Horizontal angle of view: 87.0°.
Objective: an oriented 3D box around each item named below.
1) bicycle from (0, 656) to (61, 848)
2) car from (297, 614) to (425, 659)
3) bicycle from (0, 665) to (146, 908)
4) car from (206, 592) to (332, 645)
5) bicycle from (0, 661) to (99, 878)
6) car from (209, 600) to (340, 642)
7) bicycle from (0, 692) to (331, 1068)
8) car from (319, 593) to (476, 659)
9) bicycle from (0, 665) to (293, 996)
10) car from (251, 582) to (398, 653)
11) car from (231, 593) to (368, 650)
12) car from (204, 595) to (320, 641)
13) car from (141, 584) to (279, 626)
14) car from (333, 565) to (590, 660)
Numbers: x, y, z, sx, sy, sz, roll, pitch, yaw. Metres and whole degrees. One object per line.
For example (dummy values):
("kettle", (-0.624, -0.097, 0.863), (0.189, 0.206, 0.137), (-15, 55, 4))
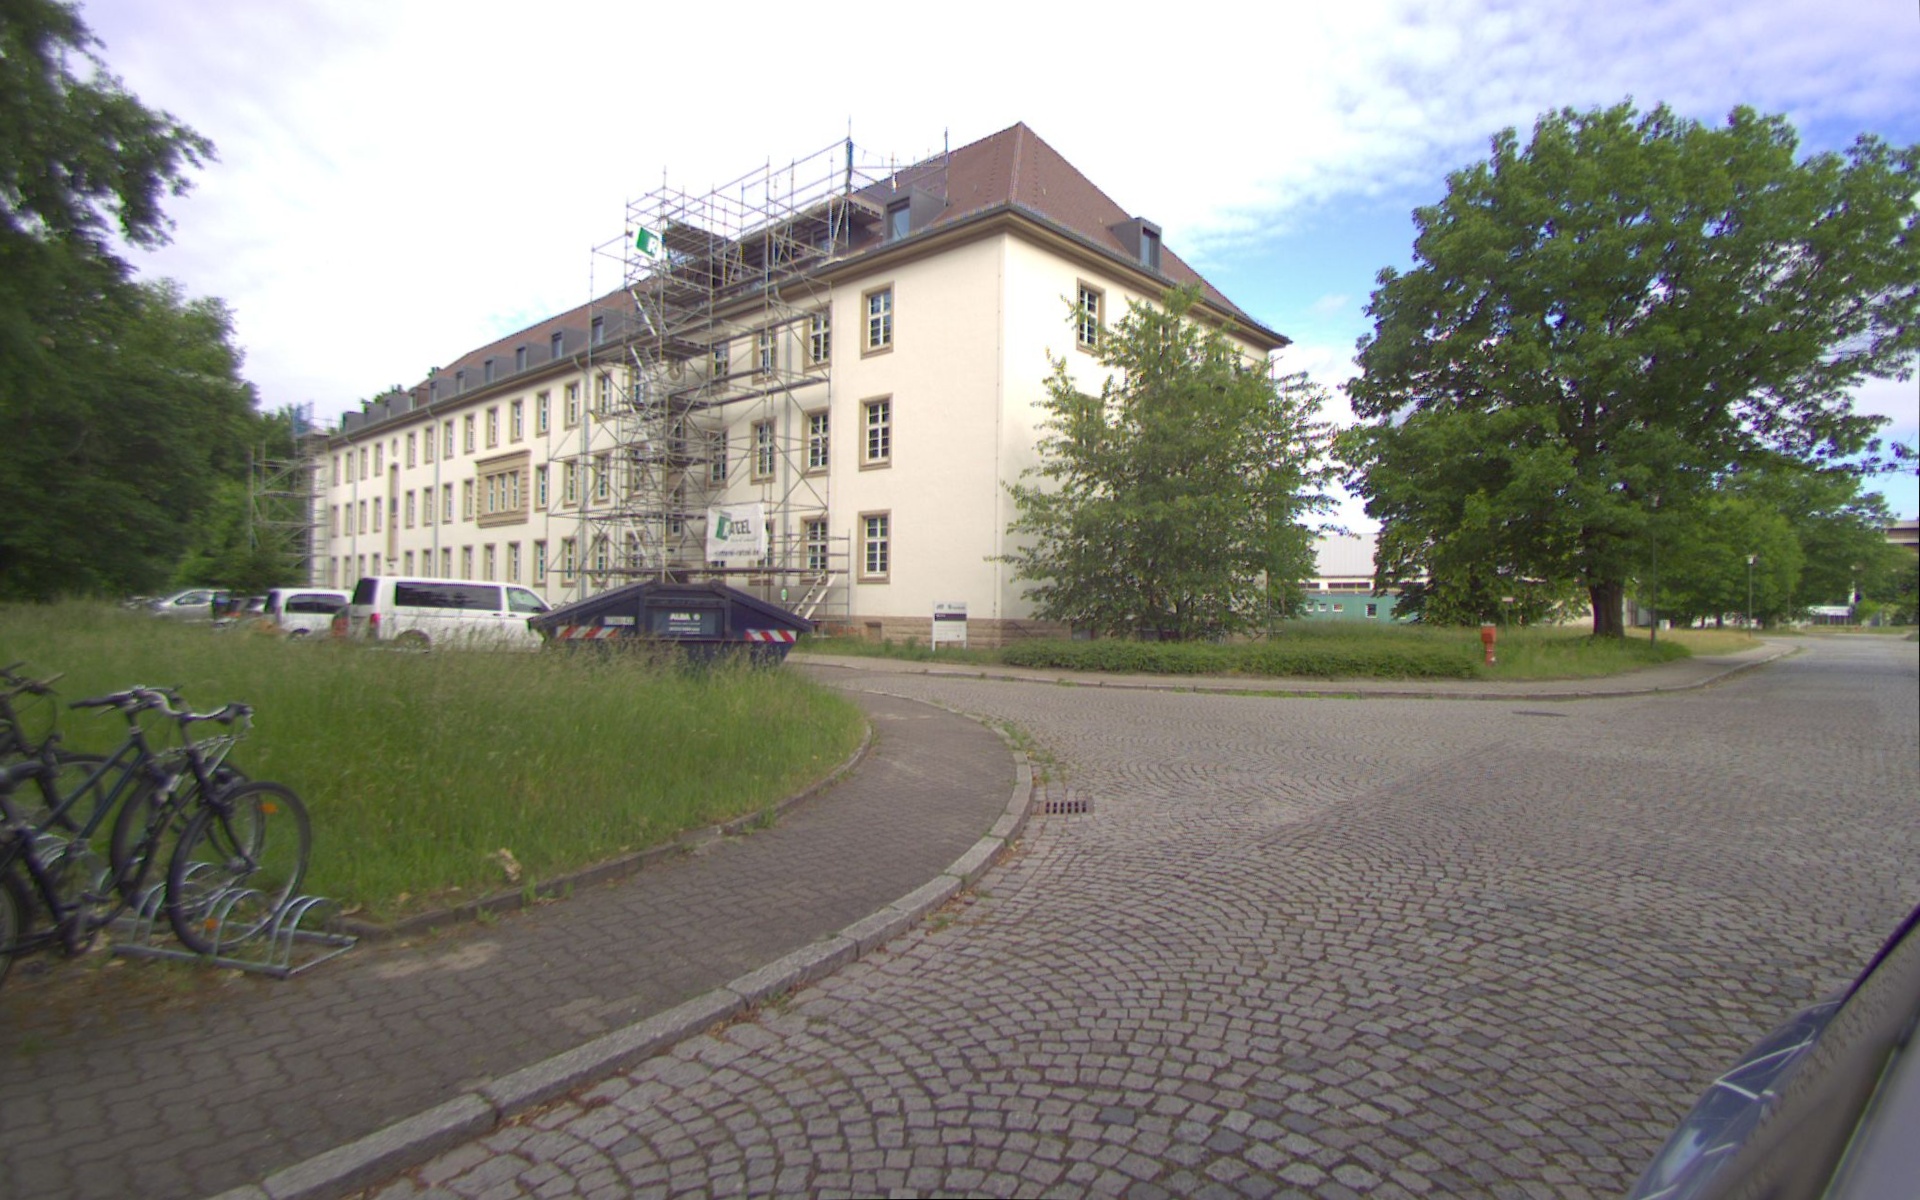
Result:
("bicycle", (-5.719, 0.861, 5.154), (0.473, 1.020, 1.653), (0, 1, 26))
("car", (-15.801, 0.935, 26.743), (1.306, 1.098, 2.661), (0, 0, 42))
("bicycle", (-4.586, 0.860, 4.349), (0.473, 1.020, 1.653), (0, 1, 26))
("car", (-22.875, 0.587, 33.556), (1.434, 1.682, 3.200), (0, 0, 42))
("bicycle", (-5.103, 0.860, 4.687), (0.473, 1.020, 1.653), (0, 1, 26))
("car", (-21.477, 0.644, 31.779), (1.292, 1.233, 3.200), (0, 0, 42))
("bicycle", (-3.112, 0.928, 3.630), (0.470, 1.020, 1.617), (0, 1, 11))
("car", (-14.101, 0.622, 25.470), (1.306, 1.546, 3.200), (0, 0, 42))
("bicycle", (-3.609, 0.877, 4.134), (0.470, 1.087, 1.617), (0, 1, 11))
("car", (-17.888, 0.468, 28.563), (1.598, 1.867, 3.199), (0, 0, 42))
("car", (-19.604, 0.616, 30.114), (1.326, 1.585, 3.200), (0, 0, 42))
("car", (-24.911, 0.613, 36.181), (1.379, 1.585, 3.200), (0, 0, 42))
("car", (-31.622, 0.205, 42.790), (1.463, 1.669, 4.476), (0, 0, 42))
("car", (-11.816, 0.278, 24.299), (1.961, 2.022, 5.196), (0, 0, 42))
